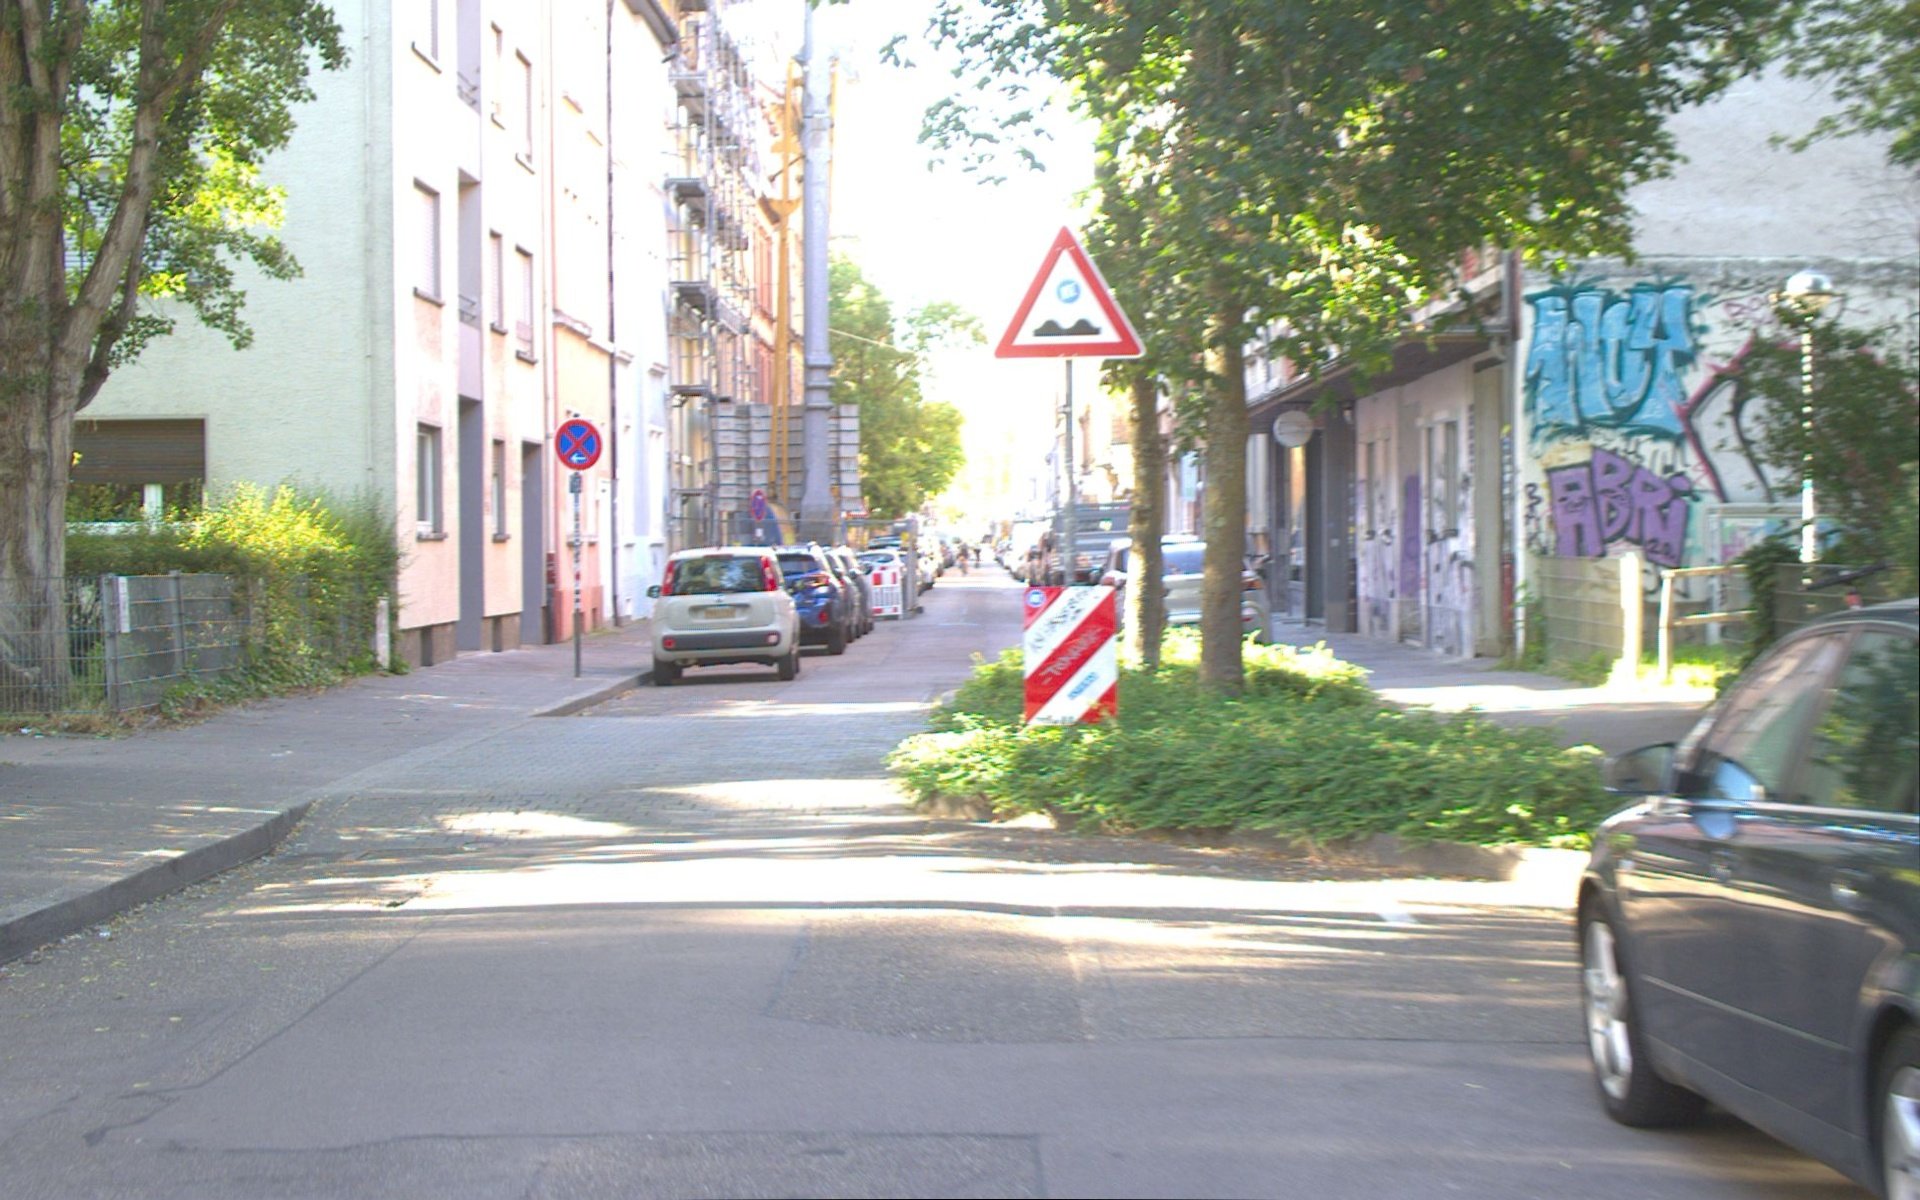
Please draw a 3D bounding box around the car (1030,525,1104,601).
[{"bbox_3d":[2.840,-0.980,91.651,1.675,1.956,4.109,-1,1,-2],"label":"car"}]

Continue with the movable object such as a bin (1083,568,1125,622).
[{"bbox_3d":[2.884,-0.108,68.895,0.795,1.052,0.660,-1,1,1],"label":"movable object such as a bin"}]

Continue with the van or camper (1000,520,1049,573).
[{"bbox_3d":[3.192,-2.656,170.677,1.993,2.500,4.203,-2,1,-4],"label":"van or camper"}]

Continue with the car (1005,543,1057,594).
[{"bbox_3d":[2.919,-1.321,142.125,1.993,2.007,4.000,-1,1,-1],"label":"car"}]

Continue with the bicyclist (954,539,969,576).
[{"bbox_3d":[0.064,-2.051,164.531,0.730,1.755,0.835,0,1,1],"label":"bicyclist"}]

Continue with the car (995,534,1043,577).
[{"bbox_3d":[2.691,-2.031,156.530,1.993,1.842,4.000,-2,1,-1],"label":"car"}]

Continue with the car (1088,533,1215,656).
[{"bbox_3d":[2.654,-0.096,48.293,1.640,1.650,3.869,-1,1,1],"label":"car"}]

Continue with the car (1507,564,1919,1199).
[{"bbox_3d":[2.538,0.692,7.780,1.721,1.488,4.414,-2,1,-2],"label":"car"}]

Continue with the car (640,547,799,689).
[{"bbox_3d":[-2.782,0.180,40.393,1.675,1.534,3.869,-2,1,-2],"label":"car"}]

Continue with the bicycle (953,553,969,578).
[{"bbox_3d":[0.060,-1.655,164.446,0.724,1.182,2.042,0,2,1],"label":"bicycle"}]

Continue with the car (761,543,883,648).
[{"bbox_3d":[-2.128,-0.107,54.058,1.675,1.506,4.415,-2,1,0],"label":"car"}]

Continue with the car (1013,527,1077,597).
[{"bbox_3d":[2.555,-1.150,104.134,1.675,2.024,3.869,-1,1,-2],"label":"car"}]

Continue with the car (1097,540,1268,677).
[{"bbox_3d":[2.654,0.074,41.877,1.721,1.557,4.398,-1,1,-1],"label":"car"}]

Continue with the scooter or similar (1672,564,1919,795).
[{"bbox_3d":[4.829,0.441,19.785,0.544,1.257,1.473,-3,1,-30],"label":"scooter or similar"}]

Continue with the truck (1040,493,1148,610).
[{"bbox_3d":[3.128,-1.145,81.140,2.190,2.598,5.234,-2,1,-1],"label":"truck"}]

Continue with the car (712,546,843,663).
[{"bbox_3d":[-2.573,0.034,49.218,1.729,1.534,4.378,-2,1,-2],"label":"car"}]
